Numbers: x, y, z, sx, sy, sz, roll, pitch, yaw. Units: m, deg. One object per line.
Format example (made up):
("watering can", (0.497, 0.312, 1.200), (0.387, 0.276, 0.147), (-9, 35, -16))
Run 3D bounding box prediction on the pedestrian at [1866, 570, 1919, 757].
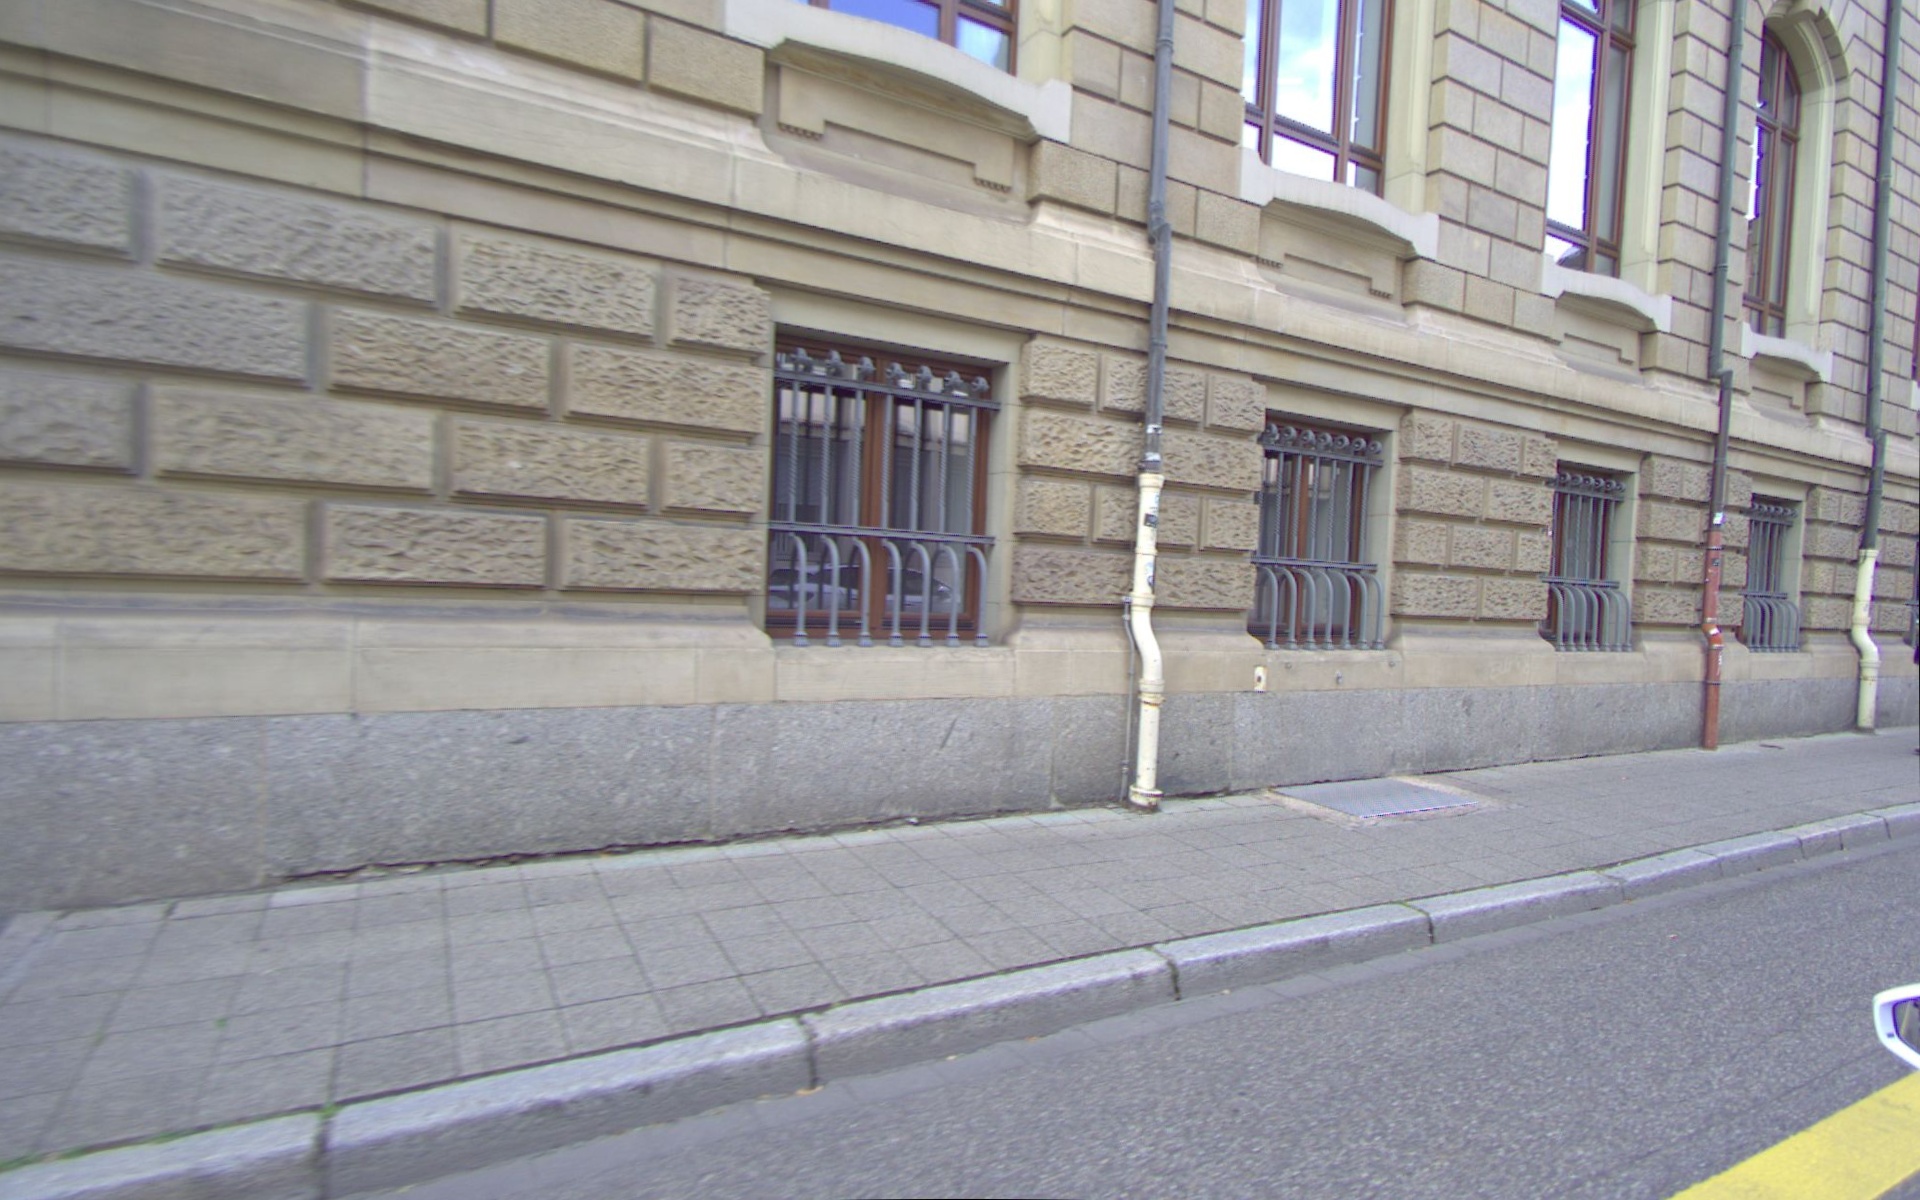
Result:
("pedestrian", (9.978, 0.652, 10.259), (1.035, 1.844, 0.660), (2, 3, -30))
